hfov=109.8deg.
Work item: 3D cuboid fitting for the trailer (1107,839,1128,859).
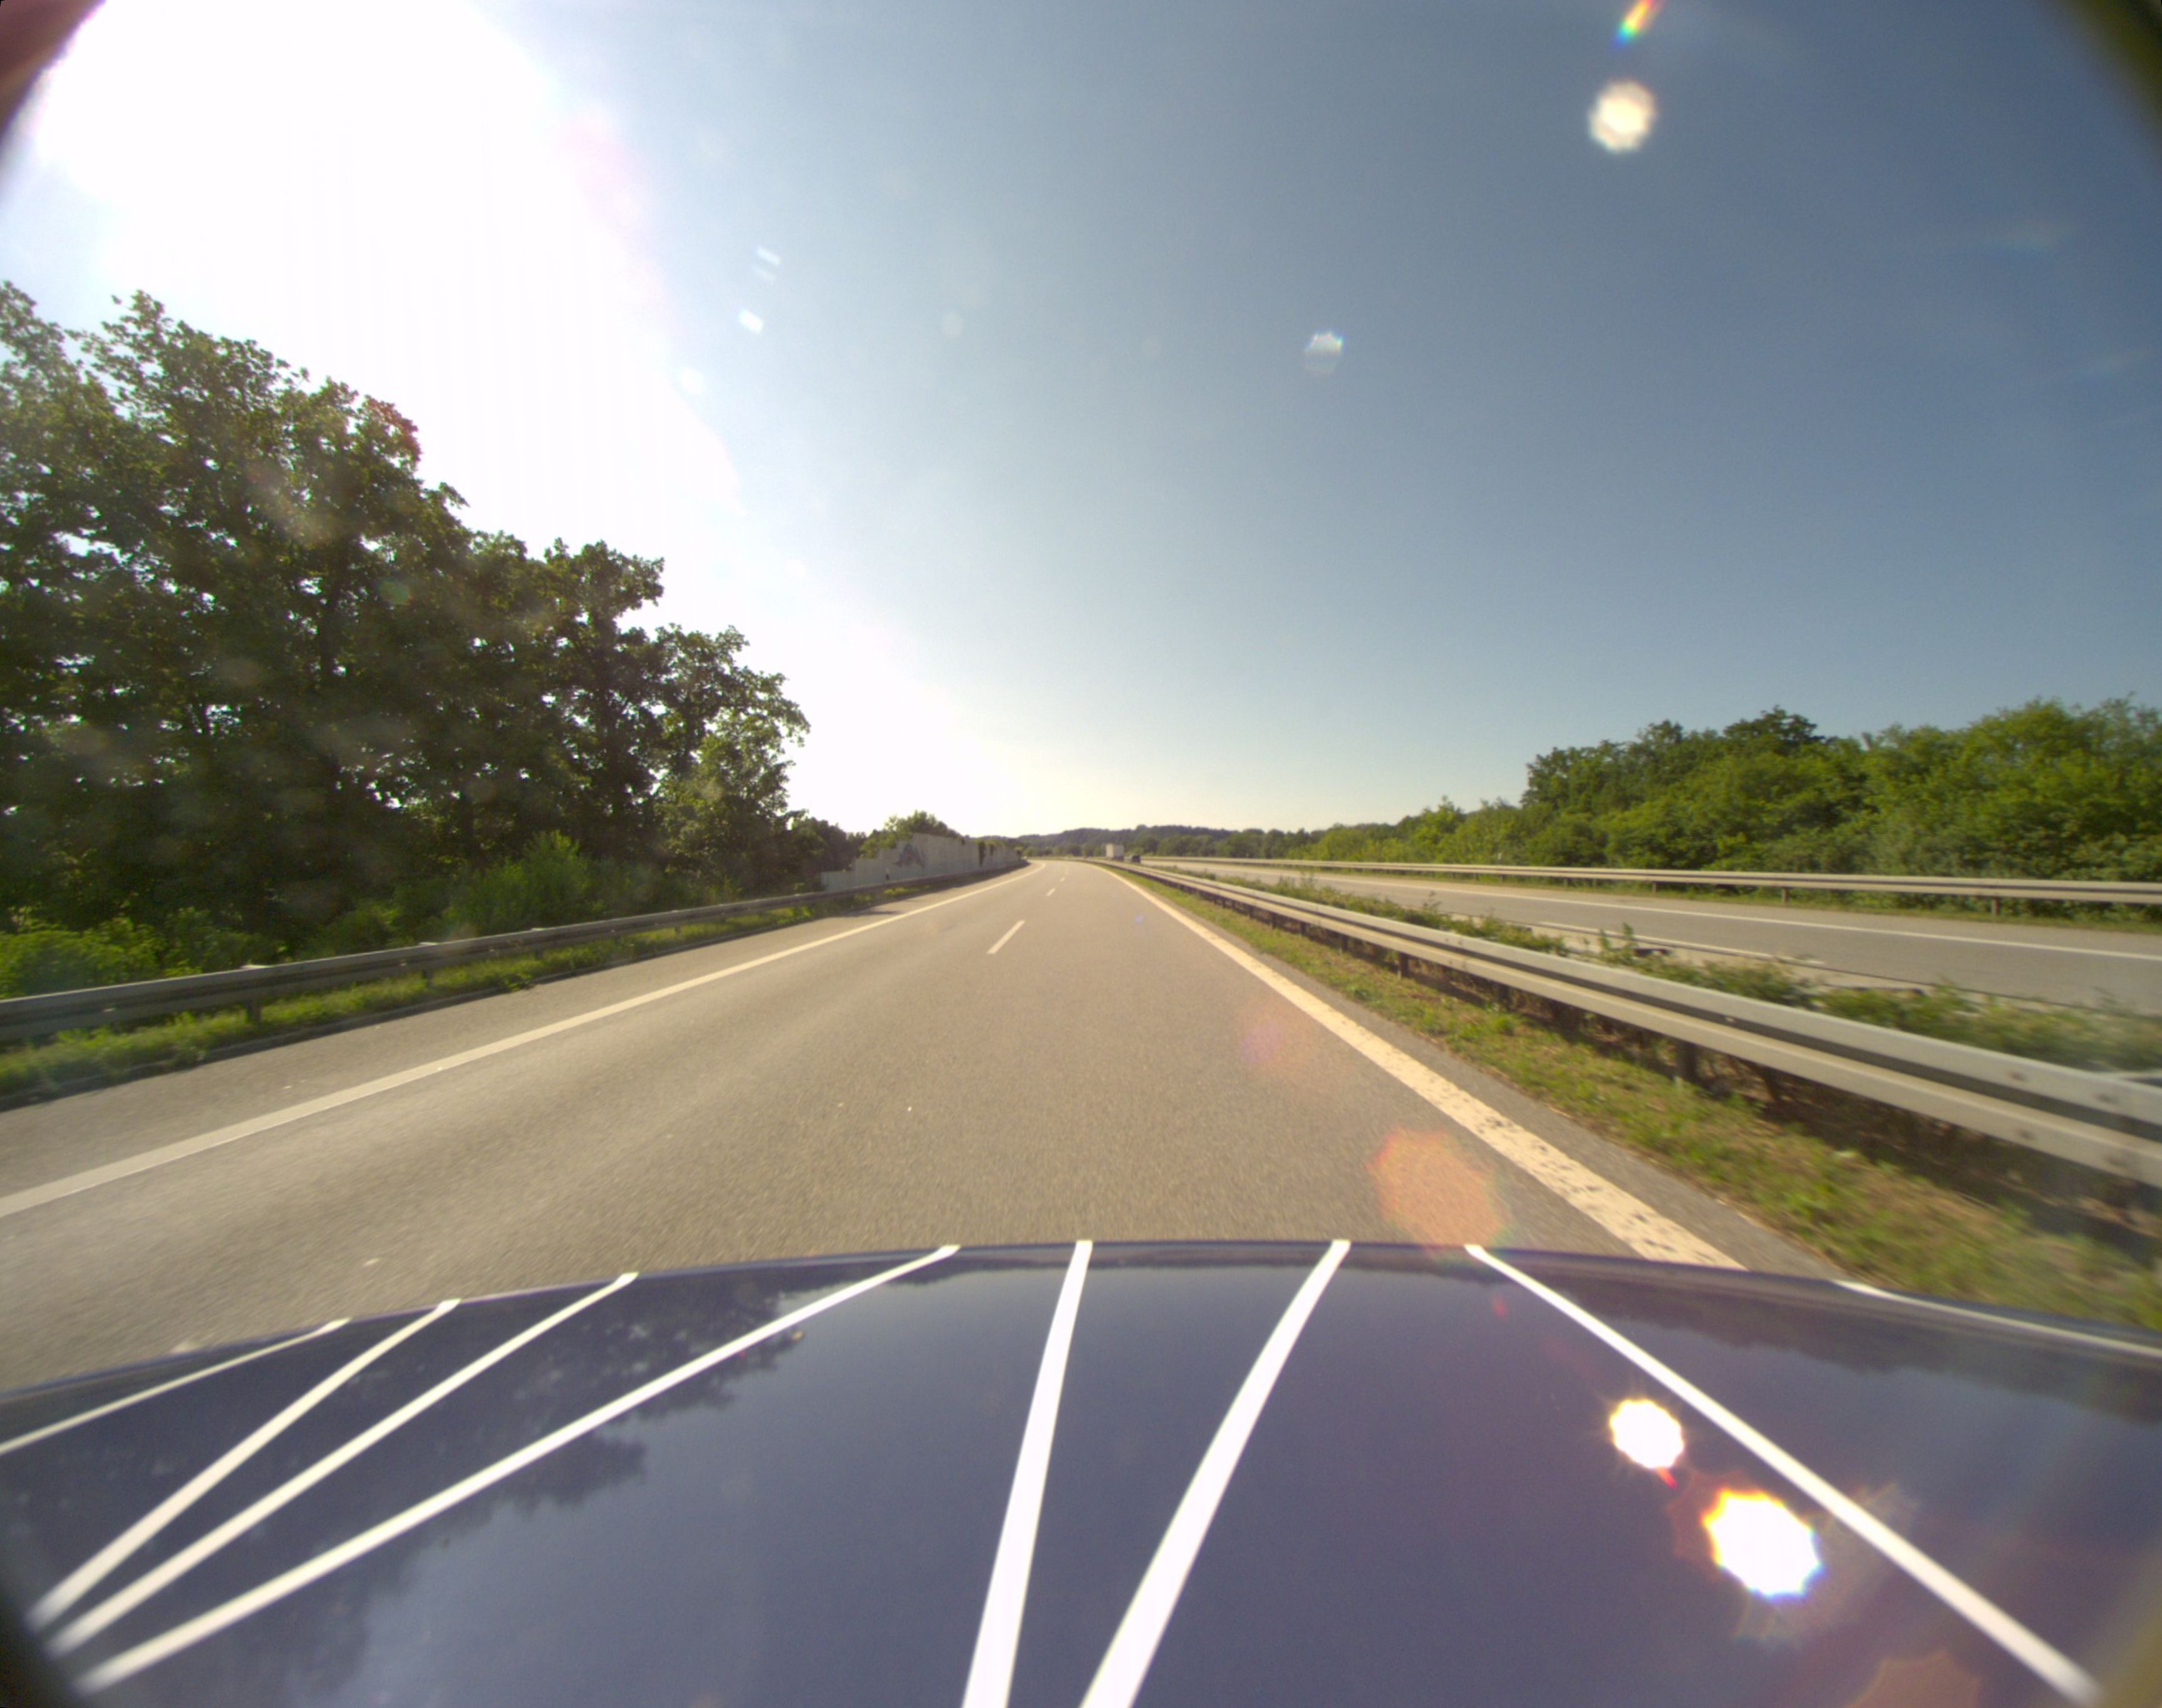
[{"bbox_3d":[8.385,-1.107,177.665,3.104,4.428,13.742,-2,0,-4],"label":"trailer"}]

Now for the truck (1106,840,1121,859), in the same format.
[{"bbox_3d":[7.903,-1.143,184.541,3.103,4.428,5.110,-2,0,-3],"label":"truck"}]

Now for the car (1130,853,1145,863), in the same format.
[{"bbox_3d":[9.723,0.629,131.716,1.965,1.591,4.867,-1,0,-2],"label":"car"}]
